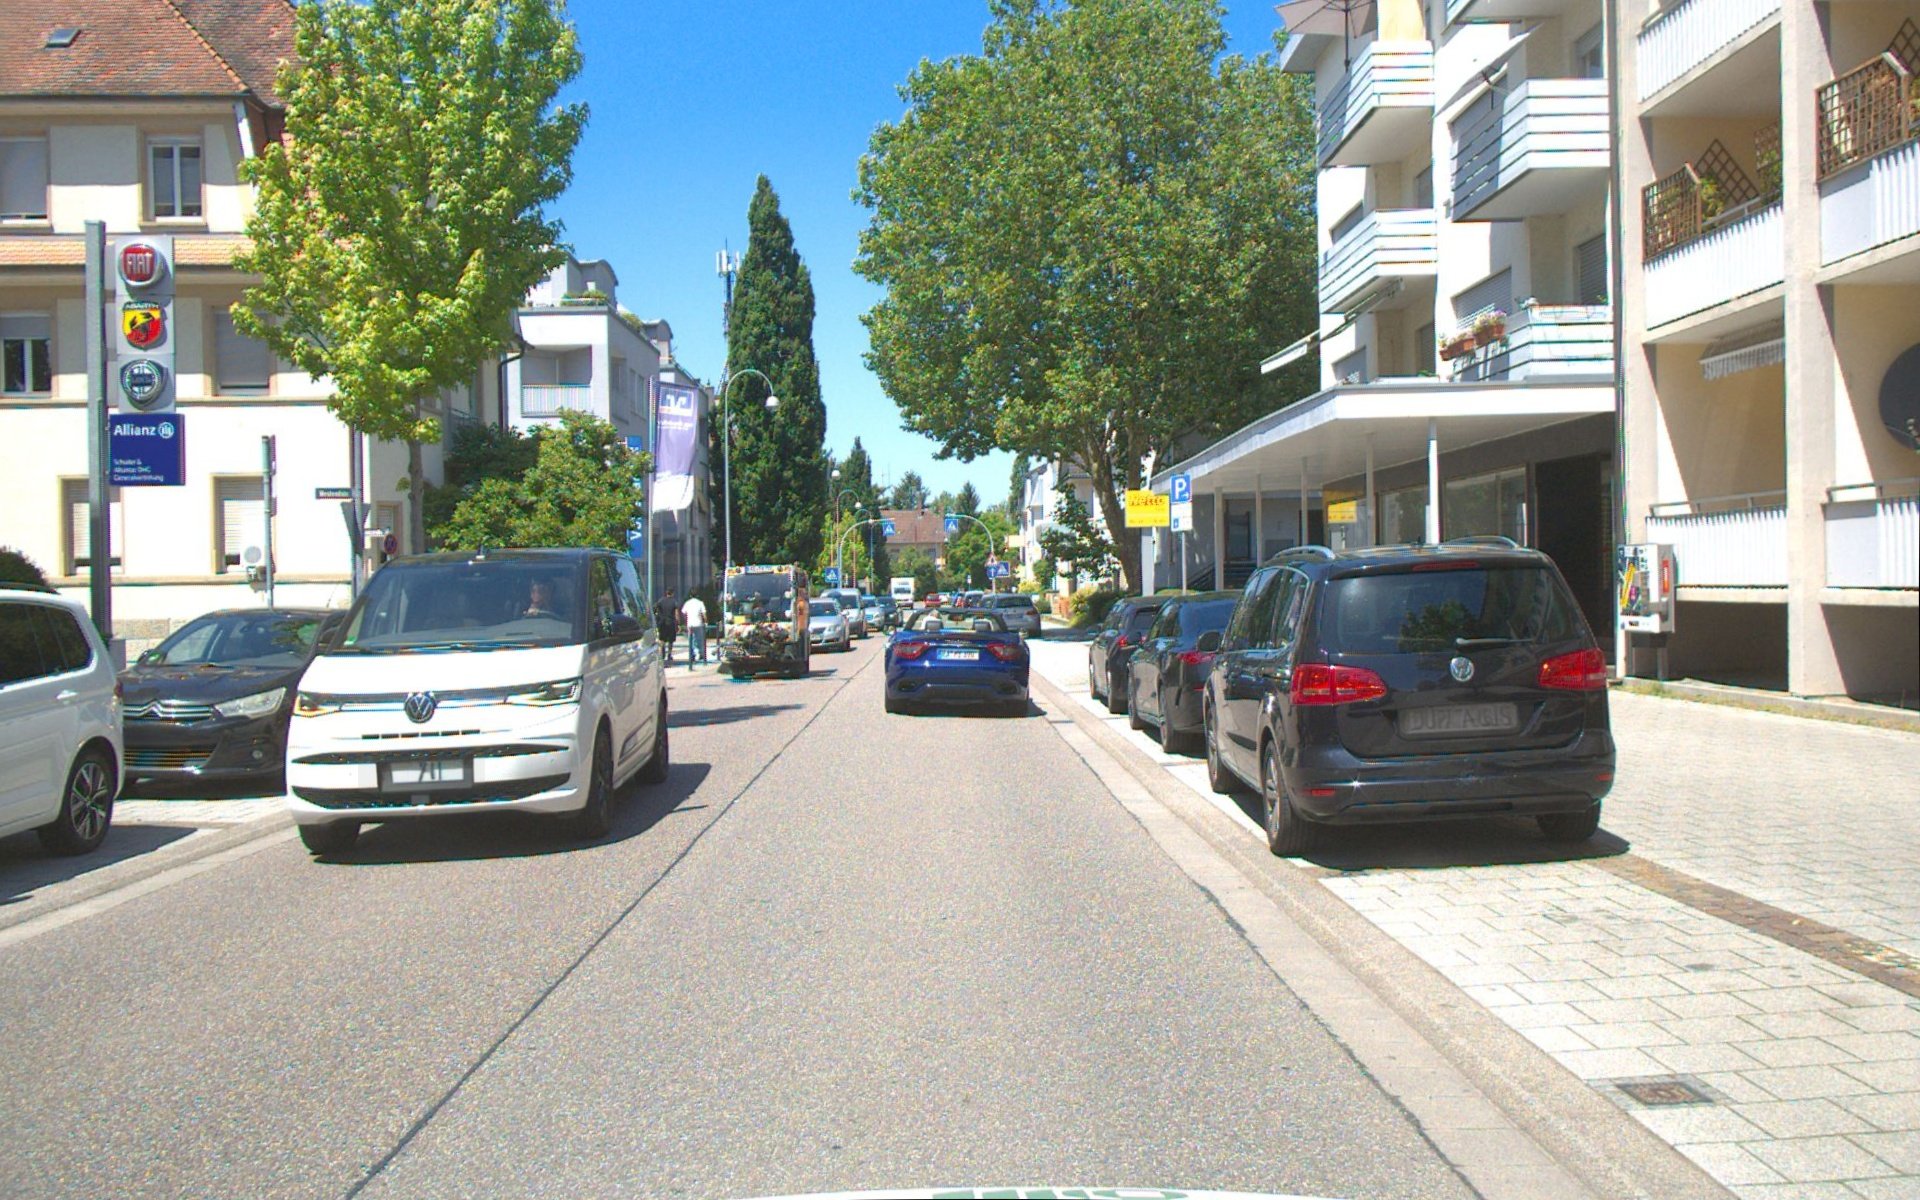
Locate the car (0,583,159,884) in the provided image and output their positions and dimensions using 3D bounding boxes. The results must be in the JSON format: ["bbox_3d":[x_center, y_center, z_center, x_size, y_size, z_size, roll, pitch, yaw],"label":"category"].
[{"bbox_3d":[-6.156,0.741,8.802,1.787,1.648,4.391,0,1,-2],"label":"car"}]

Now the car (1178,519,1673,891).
[{"bbox_3d":[2.701,0.470,10.801,1.952,1.829,4.570,-3,2,1],"label":"car"}]

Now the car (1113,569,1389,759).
[{"bbox_3d":[2.735,0.565,16.634,1.856,1.556,4.568,-3,0,-1],"label":"car"}]

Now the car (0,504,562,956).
[{"bbox_3d":[-3.828,0.588,9.913,1.869,1.956,4.902,-3,0,-3],"label":"car"}]
